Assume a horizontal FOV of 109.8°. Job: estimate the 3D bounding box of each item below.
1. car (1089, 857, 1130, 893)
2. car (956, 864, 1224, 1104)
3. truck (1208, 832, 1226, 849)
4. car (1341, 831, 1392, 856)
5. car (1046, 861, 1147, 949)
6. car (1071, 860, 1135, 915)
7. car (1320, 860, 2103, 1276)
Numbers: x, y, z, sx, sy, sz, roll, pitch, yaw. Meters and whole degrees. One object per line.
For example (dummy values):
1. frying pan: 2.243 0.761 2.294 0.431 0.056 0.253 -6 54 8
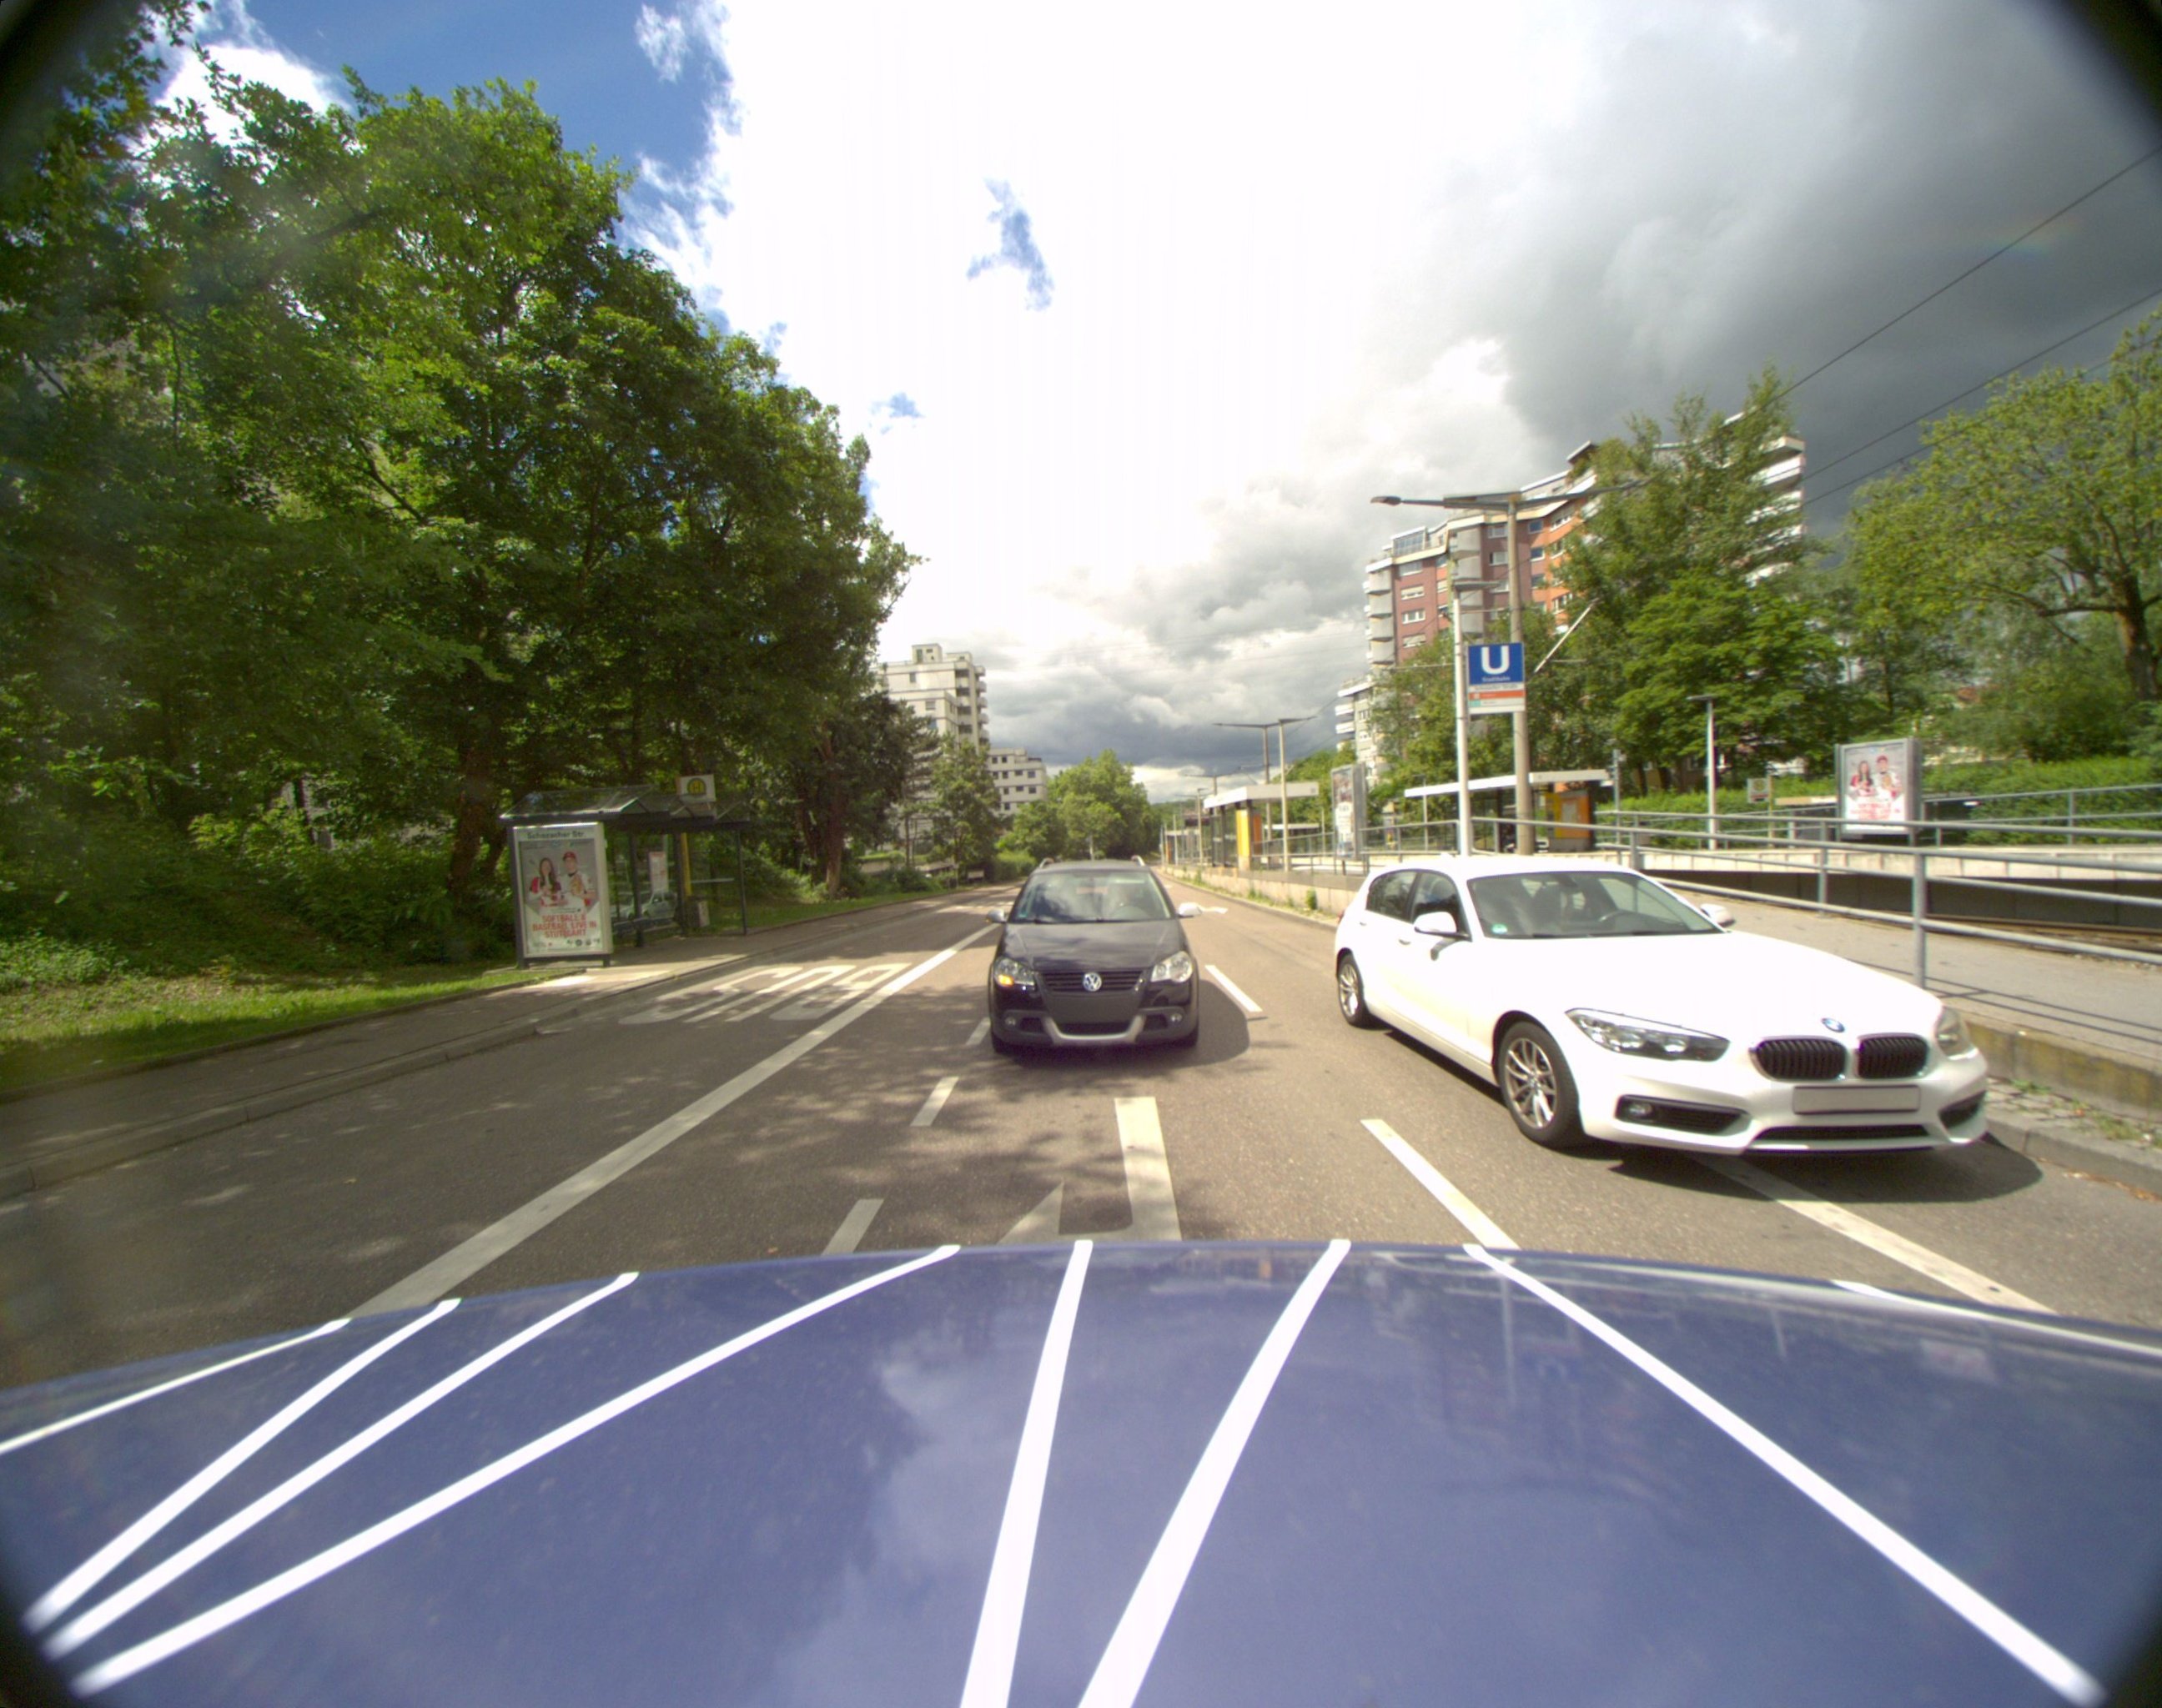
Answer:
1. car: 1.290 0.938 35.534 1.732 1.505 4.000 -2 1 1
2. car: 0.090 0.898 7.088 1.732 1.501 4.000 -2 0 1
3. truck: 27.856 -2.795 156.105 2.420 3.203 7.263 -2 0 1
4. car: 19.574 -0.725 52.297 1.998 1.625 4.460 -1 0 2
5. car: 0.302 0.916 15.359 1.732 1.453 4.000 -2 0 1
6. car: 0.715 0.947 23.169 1.732 1.452 4.001 -2 0 3
7. car: 3.025 0.836 4.885 1.732 1.453 4.000 -2 1 1
